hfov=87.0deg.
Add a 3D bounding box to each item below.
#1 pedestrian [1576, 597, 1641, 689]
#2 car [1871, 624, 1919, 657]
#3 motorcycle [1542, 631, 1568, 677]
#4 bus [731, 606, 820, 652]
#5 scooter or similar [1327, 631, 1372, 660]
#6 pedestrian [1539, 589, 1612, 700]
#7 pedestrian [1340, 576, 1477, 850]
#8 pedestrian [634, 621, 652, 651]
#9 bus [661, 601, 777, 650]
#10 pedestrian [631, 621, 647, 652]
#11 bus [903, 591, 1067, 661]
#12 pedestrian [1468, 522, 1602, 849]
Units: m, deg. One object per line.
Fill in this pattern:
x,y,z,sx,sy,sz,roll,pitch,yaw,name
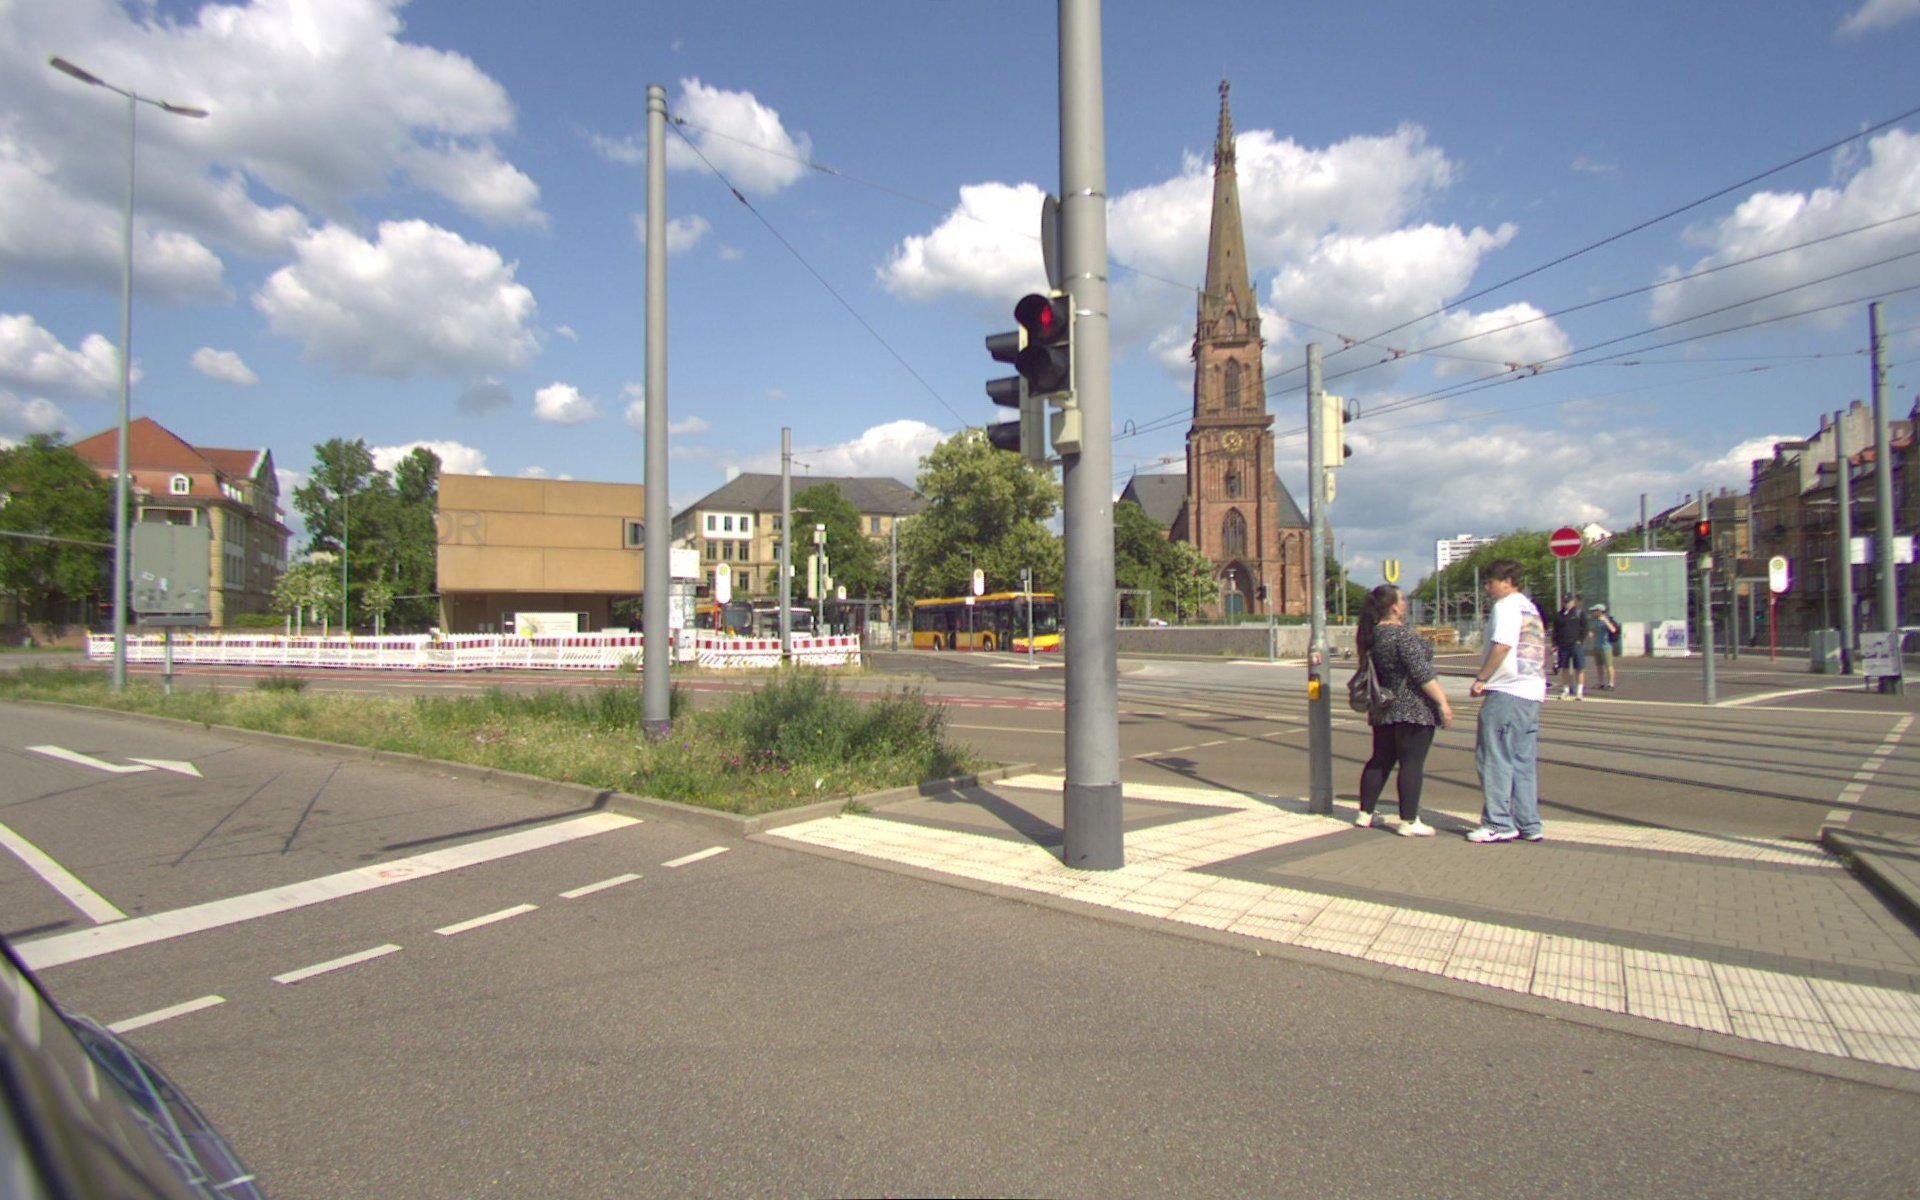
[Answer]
13.230,0.853,20.639,1.027,1.811,0.758,-1,0,37,pedestrian
45.594,1.891,48.078,1.985,1.540,4.065,-2,-2,20,car
16.669,1.498,28.337,0.483,1.246,1.429,-1,-2,35,motorcycle
-16.721,2.692,89.774,3.546,3.660,18.932,0,-2,-24,bus
16.441,1.910,42.756,1.617,1.114,0.855,-1,0,-23,scooter or similar
10.969,0.778,18.060,0.816,1.917,0.767,-1,0,3,pedestrian
2.971,0.697,6.679,0.690,1.660,0.841,-1,-2,33,pedestrian
-17.819,2.030,56.927,0.761,1.644,0.648,-1,-2,22,pedestrian
-19.012,2.064,77.503,3.416,3.208,23.854,0,-2,-26,bus
-16.800,1.905,52.991,0.720,1.642,0.561,0,-2,-27,pedestrian
0.855,1.379,51.619,2.785,3.160,12.882,0,-2,-26,bus
3.727,0.516,6.543,0.690,1.931,0.841,-1,-2,33,pedestrian
